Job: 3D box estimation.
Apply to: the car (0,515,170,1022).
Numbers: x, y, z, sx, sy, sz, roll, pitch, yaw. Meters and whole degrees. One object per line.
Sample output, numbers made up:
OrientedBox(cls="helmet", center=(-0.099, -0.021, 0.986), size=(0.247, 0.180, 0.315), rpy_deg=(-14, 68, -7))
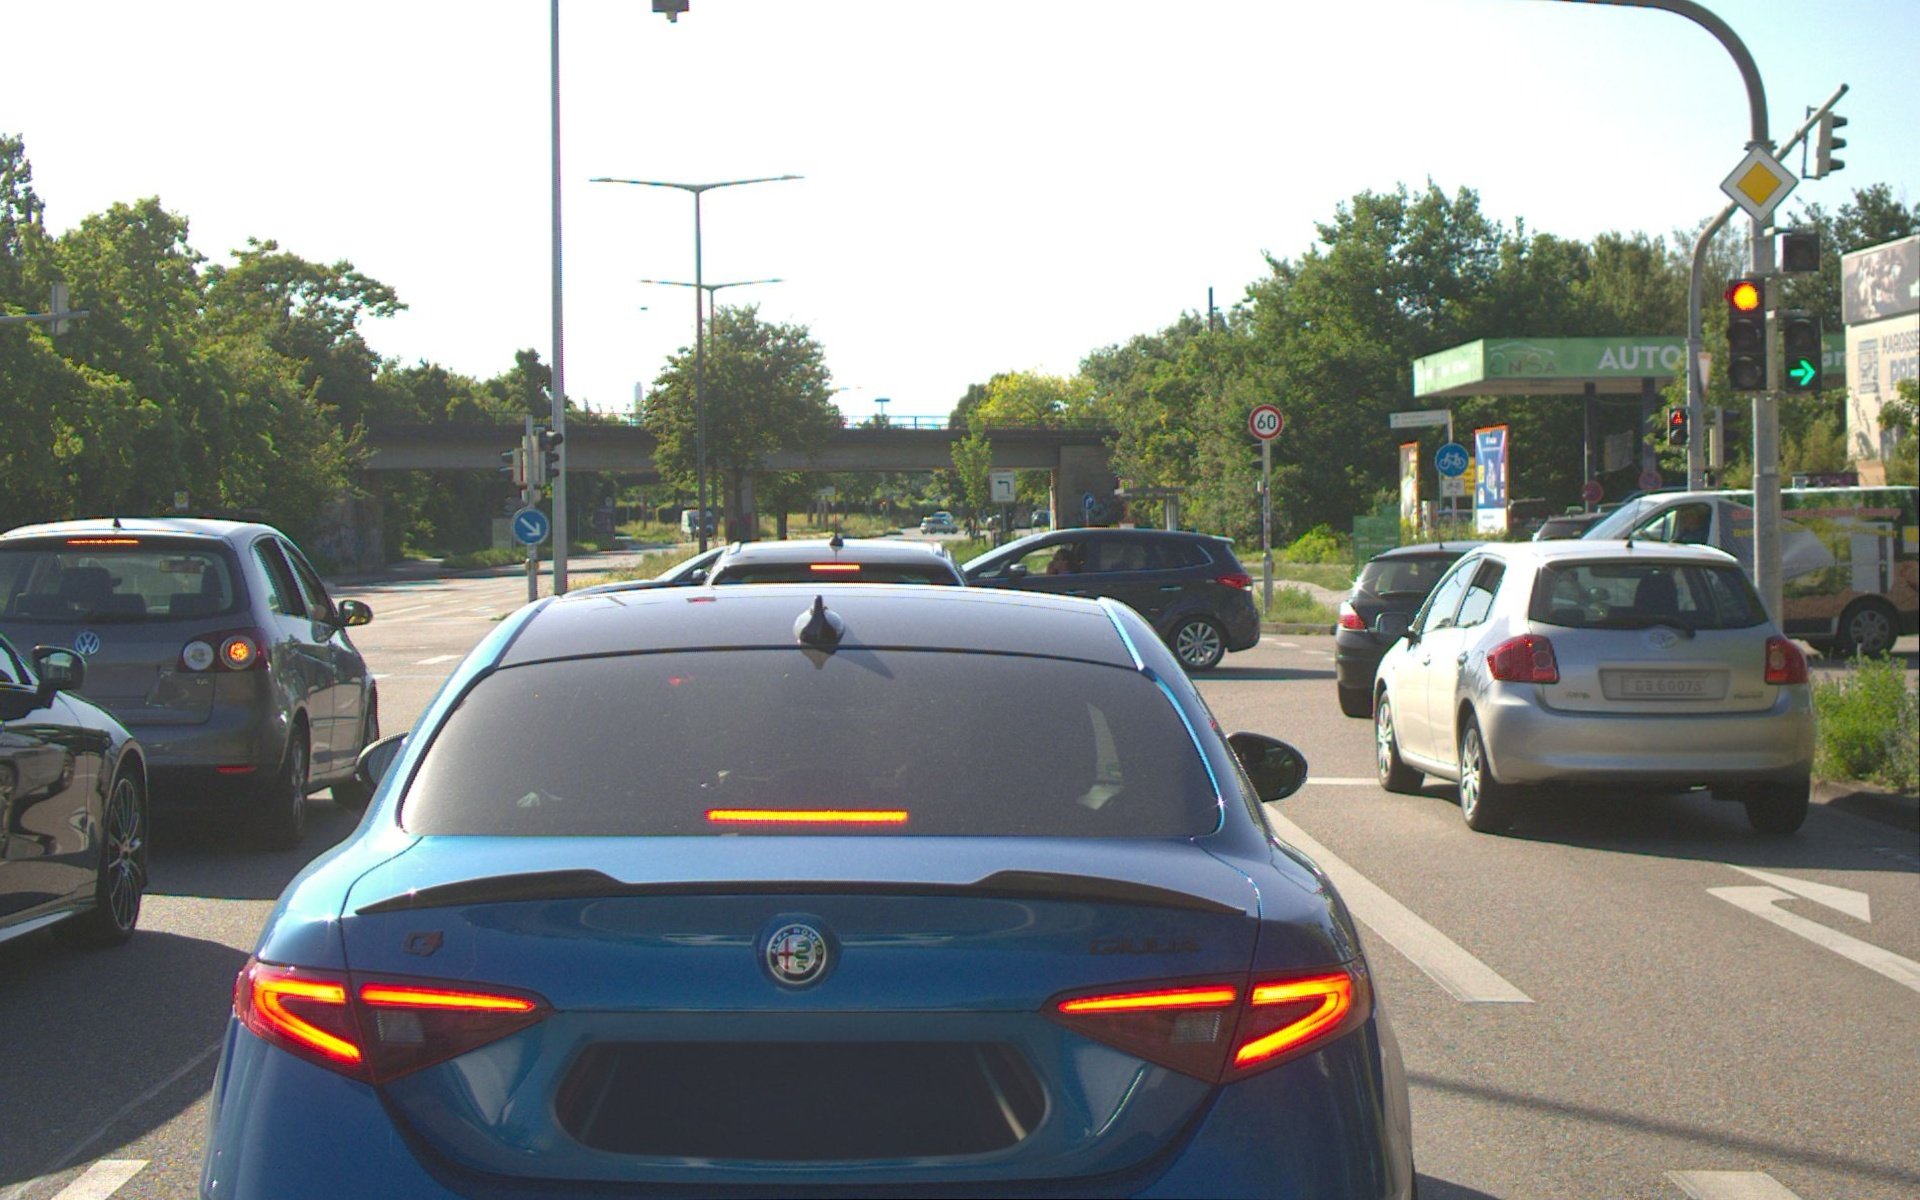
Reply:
OrientedBox(cls="car", center=(-3.828, 0.504, 10.639), size=(1.812, 1.546, 4.544), rpy_deg=(0, 1, -1))

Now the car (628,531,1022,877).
OrientedBox(cls="car", center=(-0.559, 0.437, 16.910), size=(1.704, 1.492, 3.719), rpy_deg=(1, 1, 1))

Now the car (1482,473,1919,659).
OrientedBox(cls="car", center=(8.636, -0.396, 39.477), size=(4.954, 2.029, 1.881), rpy_deg=(-1, 1, -1))

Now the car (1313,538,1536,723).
OrientedBox(cls="car", center=(4.024, 0.206, 29.470), size=(1.735, 1.437, 4.370), rpy_deg=(1, 1, 9))

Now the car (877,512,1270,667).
OrientedBox(cls="car", center=(1.234, -0.126, 38.599), size=(4.306, 1.644, 1.638), rpy_deg=(1, 0, -1))

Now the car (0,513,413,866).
OrientedBox(cls="car", center=(-3.961, 0.373, 17.399), size=(1.812, 1.546, 4.354), rpy_deg=(1, 1, -2))

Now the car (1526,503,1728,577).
OrientedBox(cls="car", center=(14.451, -1.295, 74.671), size=(3.987, 1.547, 2.000), rpy_deg=(1, 0, 1))

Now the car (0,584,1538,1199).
OrientedBox(cls="car", center=(-0.220, 0.702, 6.100), size=(1.910, 1.418, 3.719), rpy_deg=(1, 1, 1))

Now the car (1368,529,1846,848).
OrientedBox(cls="car", center=(3.422, 0.395, 18.946), size=(1.783, 1.531, 4.108), rpy_deg=(1, 1, -1))

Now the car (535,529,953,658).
OrientedBox(cls="car", center=(-2.636, -0.078, 41.644), size=(4.817, 1.463, 1.759), rpy_deg=(1, 0, -12))
